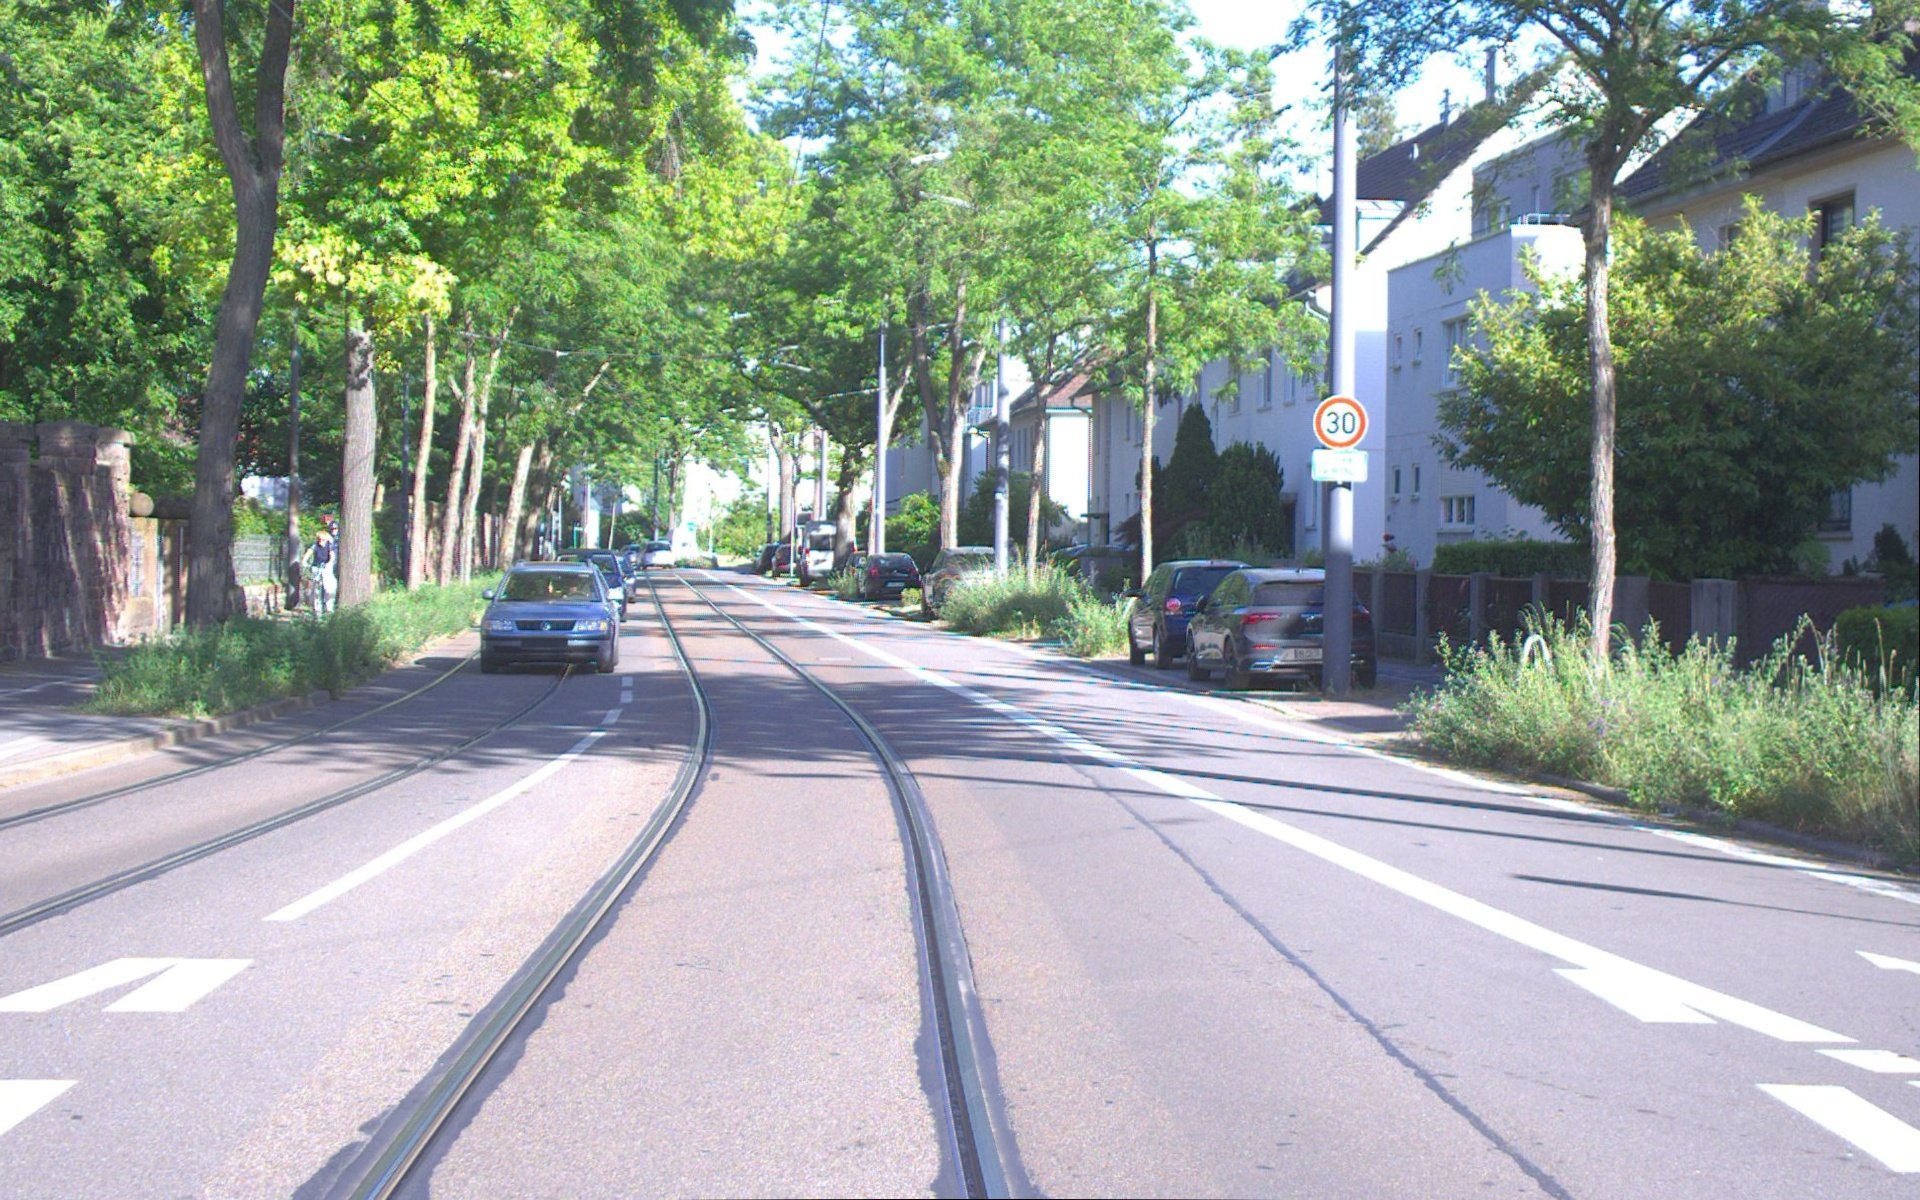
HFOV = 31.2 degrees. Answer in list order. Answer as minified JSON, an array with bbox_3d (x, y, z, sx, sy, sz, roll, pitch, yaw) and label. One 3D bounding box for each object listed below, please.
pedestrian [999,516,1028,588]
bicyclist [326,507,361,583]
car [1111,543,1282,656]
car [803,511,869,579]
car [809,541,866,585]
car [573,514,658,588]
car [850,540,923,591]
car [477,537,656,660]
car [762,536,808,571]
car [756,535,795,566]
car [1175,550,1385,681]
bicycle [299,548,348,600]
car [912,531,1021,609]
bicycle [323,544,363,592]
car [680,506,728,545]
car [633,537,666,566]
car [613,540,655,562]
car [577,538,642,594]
[{"bbox_3d":[1.408,-1.272,90.480,0.625,1.864,0.732,-2,1,-6],"label":"pedestrian"},{"bbox_3d":[-12.571,-1.126,70.108,0.593,1.522,1.061,0,1,-4],"label":"bicyclist"},{"bbox_3d":[3.248,-0.039,47.941,1.748,1.490,3.997,0,1,-5],"label":"car"},{"bbox_3d":[-4.987,-2.202,137.719,2.245,2.645,5.586,-1,1,-6],"label":"car"},{"bbox_3d":[-4.159,-1.258,116.359,1.626,1.393,3.646,-2,2,-6],"label":"car"},{"bbox_3d":[-7.399,-1.052,73.998,1.748,1.519,4.036,1,1,-5],"label":"car"},{"bbox_3d":[-2.291,-1.084,106.433,1.783,1.443,4.302,-2,2,-7],"label":"car"},{"bbox_3d":[-5.183,-0.052,45.797,1.993,1.519,4.580,1,1,-2],"label":"car"},{"bbox_3d":[-8.655,-2.319,169.551,2.002,1.669,4.393,-1,1,-6],"label":"car"},{"bbox_3d":[-10.018,-2.702,187.054,2.002,1.669,4.393,-1,1,-1],"label":"car"},{"bbox_3d":[3.841,0.148,41.982,1.748,1.490,4.444,0,1,-5],"label":"car"},{"bbox_3d":[-12.298,-0.511,66.472,0.711,0.957,2.095,0,1,-4],"label":"bicycle"},{"bbox_3d":[0.119,-0.725,80.235,1.993,1.698,4.478,-2,1,-6],"label":"car"},{"bbox_3d":[-12.575,-0.660,70.093,0.589,0.957,2.132,0,1,-4],"label":"bicycle"},{"bbox_3d":[-16.078,-4.657,215.936,1.993,2.449,4.510,0,1,-18],"label":"car"},{"bbox_3d":[-17.997,-2.821,198.994,1.865,1.669,4.174,0,1,-6],"label":"car"},{"bbox_3d":[-22.745,-3.438,239.832,2.002,1.555,4.394,0,1,-18],"label":"car"},{"bbox_3d":[-9.871,-0.974,96.973,1.748,1.519,4.071,1,1,-5],"label":"car"}]
